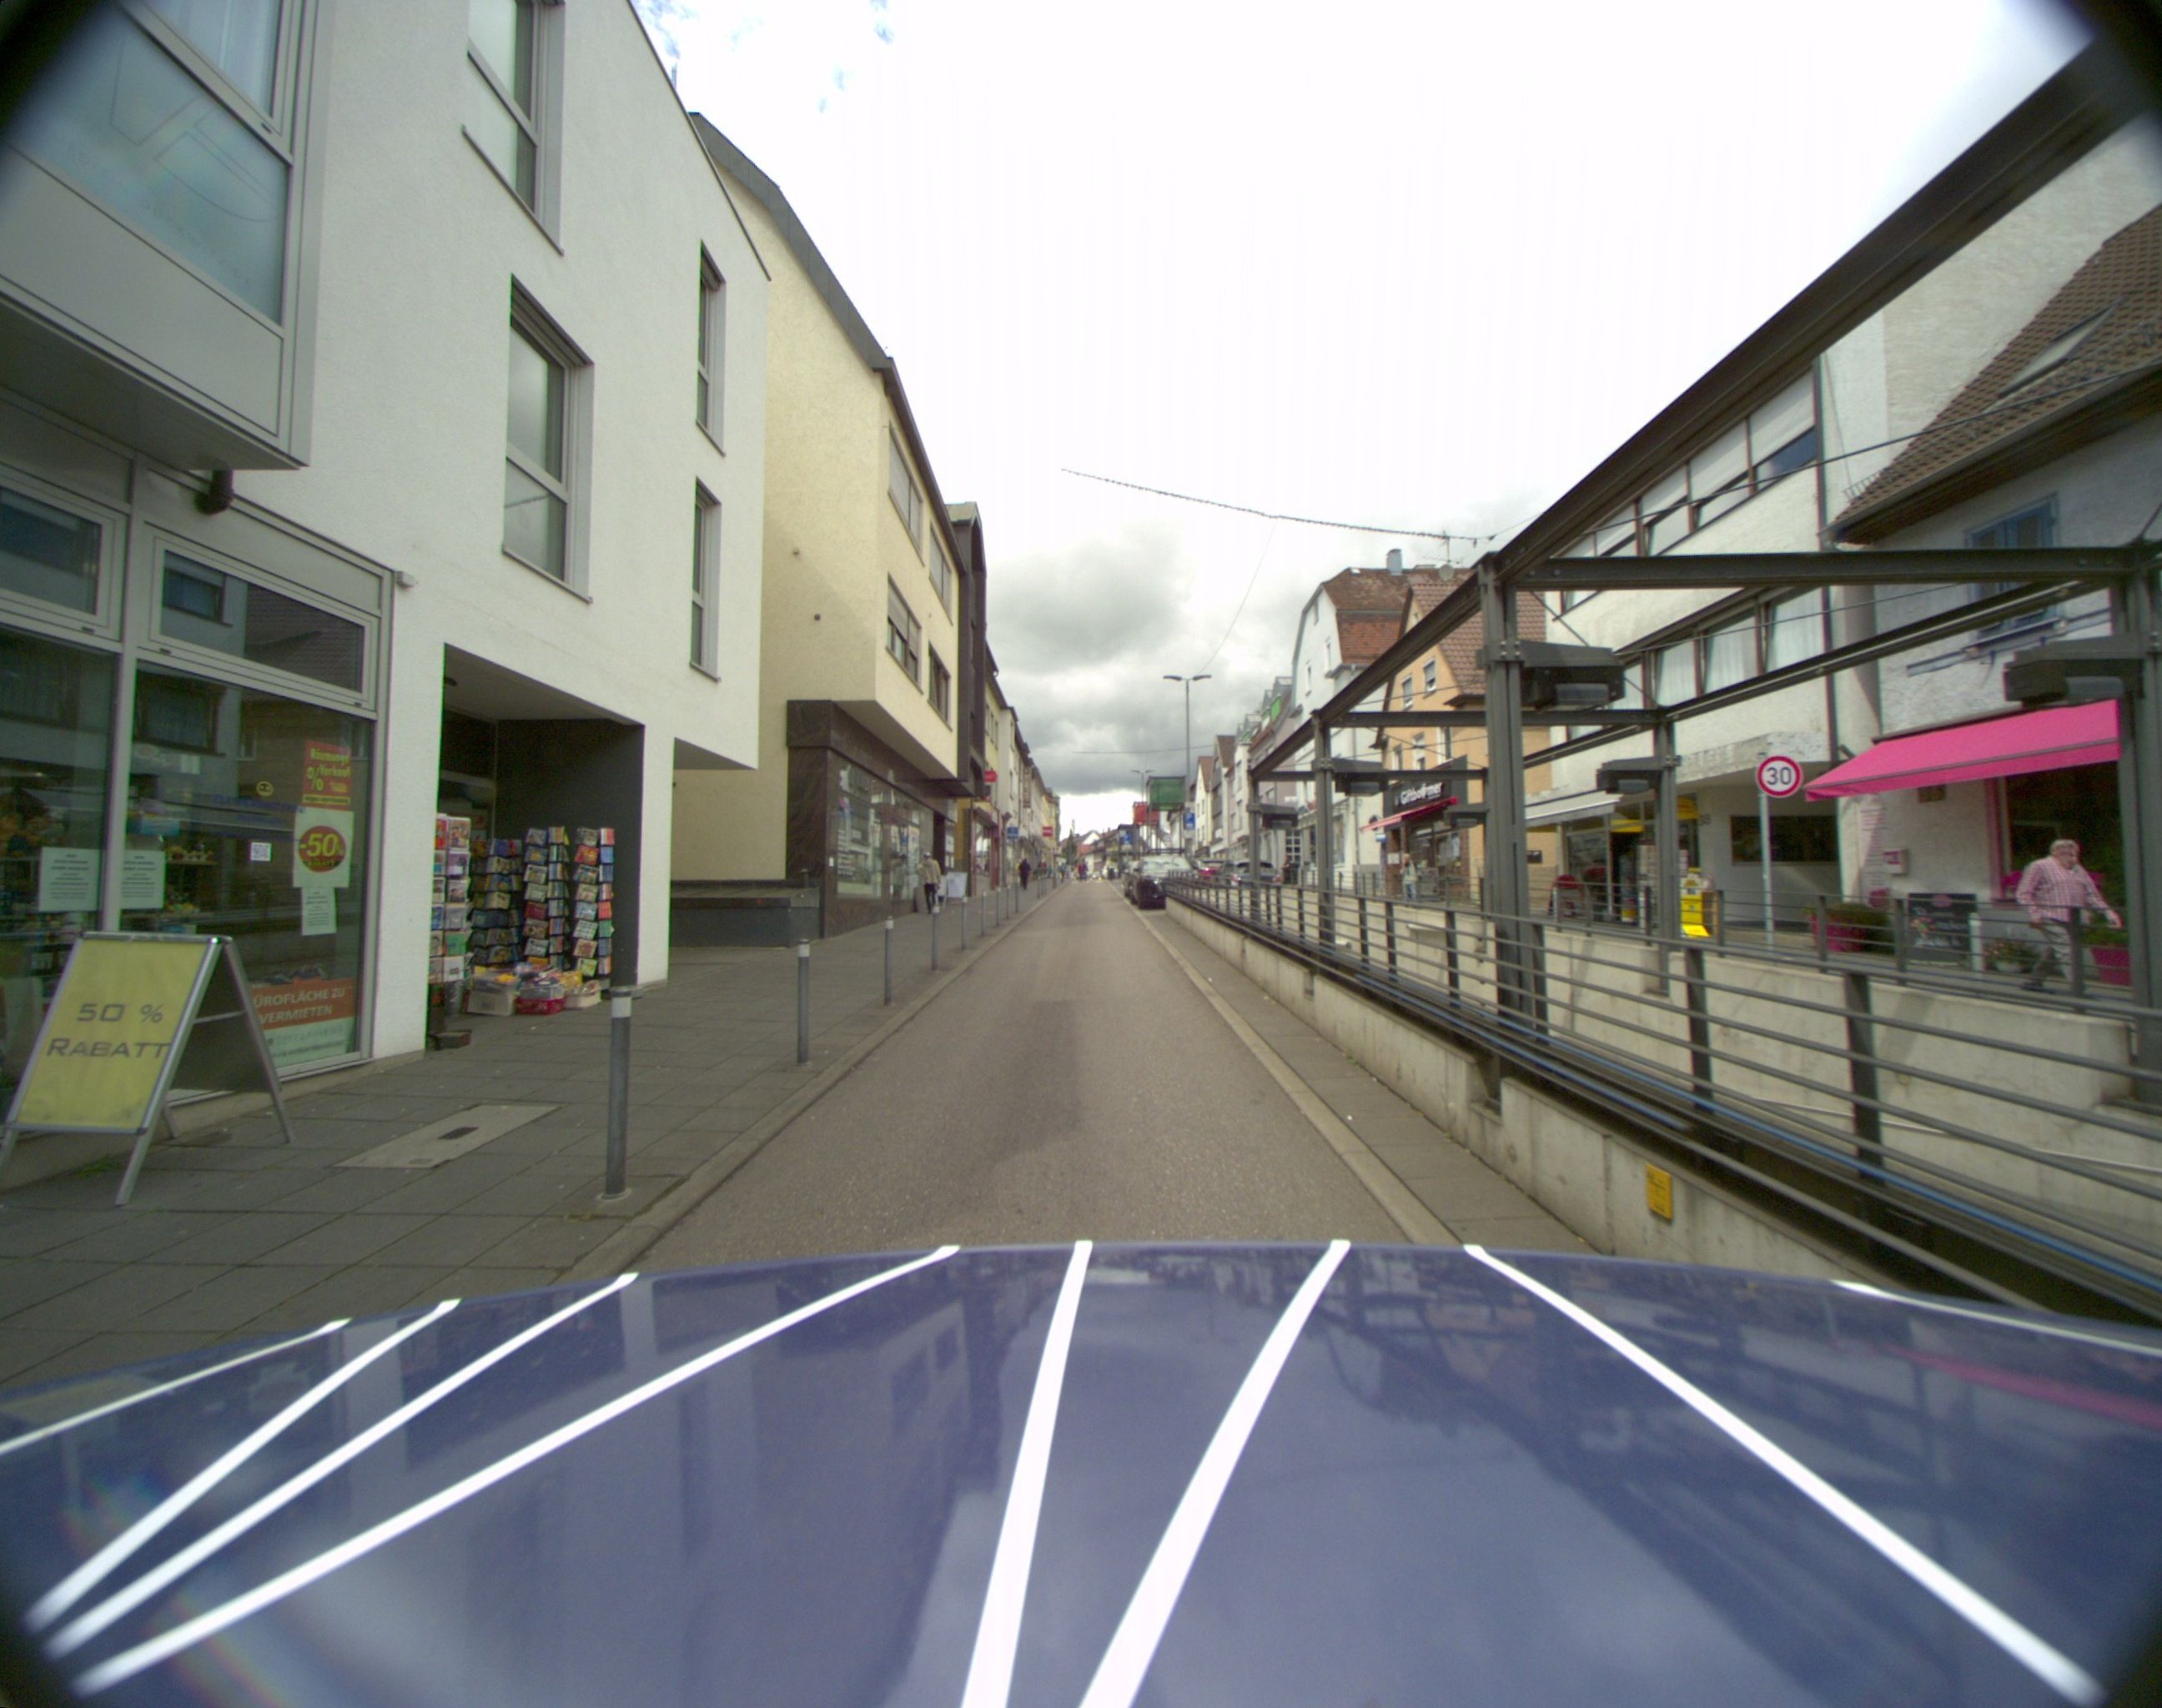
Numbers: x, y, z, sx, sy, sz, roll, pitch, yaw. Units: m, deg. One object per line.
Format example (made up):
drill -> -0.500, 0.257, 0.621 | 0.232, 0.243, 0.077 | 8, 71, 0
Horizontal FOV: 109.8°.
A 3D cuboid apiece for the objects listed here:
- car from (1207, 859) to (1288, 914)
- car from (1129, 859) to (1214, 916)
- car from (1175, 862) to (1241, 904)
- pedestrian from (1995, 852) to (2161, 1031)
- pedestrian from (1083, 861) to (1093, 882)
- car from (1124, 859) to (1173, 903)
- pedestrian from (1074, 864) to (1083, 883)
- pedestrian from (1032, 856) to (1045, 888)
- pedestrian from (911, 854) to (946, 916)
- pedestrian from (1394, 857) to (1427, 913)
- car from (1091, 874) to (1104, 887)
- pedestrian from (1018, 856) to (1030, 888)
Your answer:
car -> 5.192, 0.972, 24.163 | 1.703, 1.538, 3.899 | -2, 0, 0
car -> 2.708, 0.981, 23.804 | 1.999, 1.557, 4.431 | -2, 0, -1
car -> 5.119, 1.121, 31.188 | 1.998, 1.580, 4.495 | 1, 0, 0
pedestrian -> 10.204, 0.850, 7.783 | 0.696, 1.729, 0.825 | 0, 0, 2
pedestrian -> 0.586, 1.442, 63.451 | 0.761, 1.764, 0.851 | 0, 0, -6
car -> 2.611, 1.030, 30.034 | 1.577, 1.600, 3.533 | -2, 0, 0
pedestrian -> -0.223, 1.606, 62.609 | 0.663, 1.519, 0.705 | 0, 0, -6
pedestrian -> -2.276, 0.939, 40.798 | 0.663, 1.696, 0.780 | 0, 0, -2
pedestrian -> -4.175, 0.842, 20.903 | 0.760, 1.663, 0.780 | 2, 0, -2
pedestrian -> 10.108, 0.947, 23.317 | 0.748, 1.704, 0.664 | 0, 0, 1
car -> 2.585, 4.133, 119.782 | 1.998, 2.002, 4.000 | 0, 0, 0
pedestrian -> -3.055, 0.967, 40.743 | 0.639, 1.688, 0.708 | 0, 0, -5
